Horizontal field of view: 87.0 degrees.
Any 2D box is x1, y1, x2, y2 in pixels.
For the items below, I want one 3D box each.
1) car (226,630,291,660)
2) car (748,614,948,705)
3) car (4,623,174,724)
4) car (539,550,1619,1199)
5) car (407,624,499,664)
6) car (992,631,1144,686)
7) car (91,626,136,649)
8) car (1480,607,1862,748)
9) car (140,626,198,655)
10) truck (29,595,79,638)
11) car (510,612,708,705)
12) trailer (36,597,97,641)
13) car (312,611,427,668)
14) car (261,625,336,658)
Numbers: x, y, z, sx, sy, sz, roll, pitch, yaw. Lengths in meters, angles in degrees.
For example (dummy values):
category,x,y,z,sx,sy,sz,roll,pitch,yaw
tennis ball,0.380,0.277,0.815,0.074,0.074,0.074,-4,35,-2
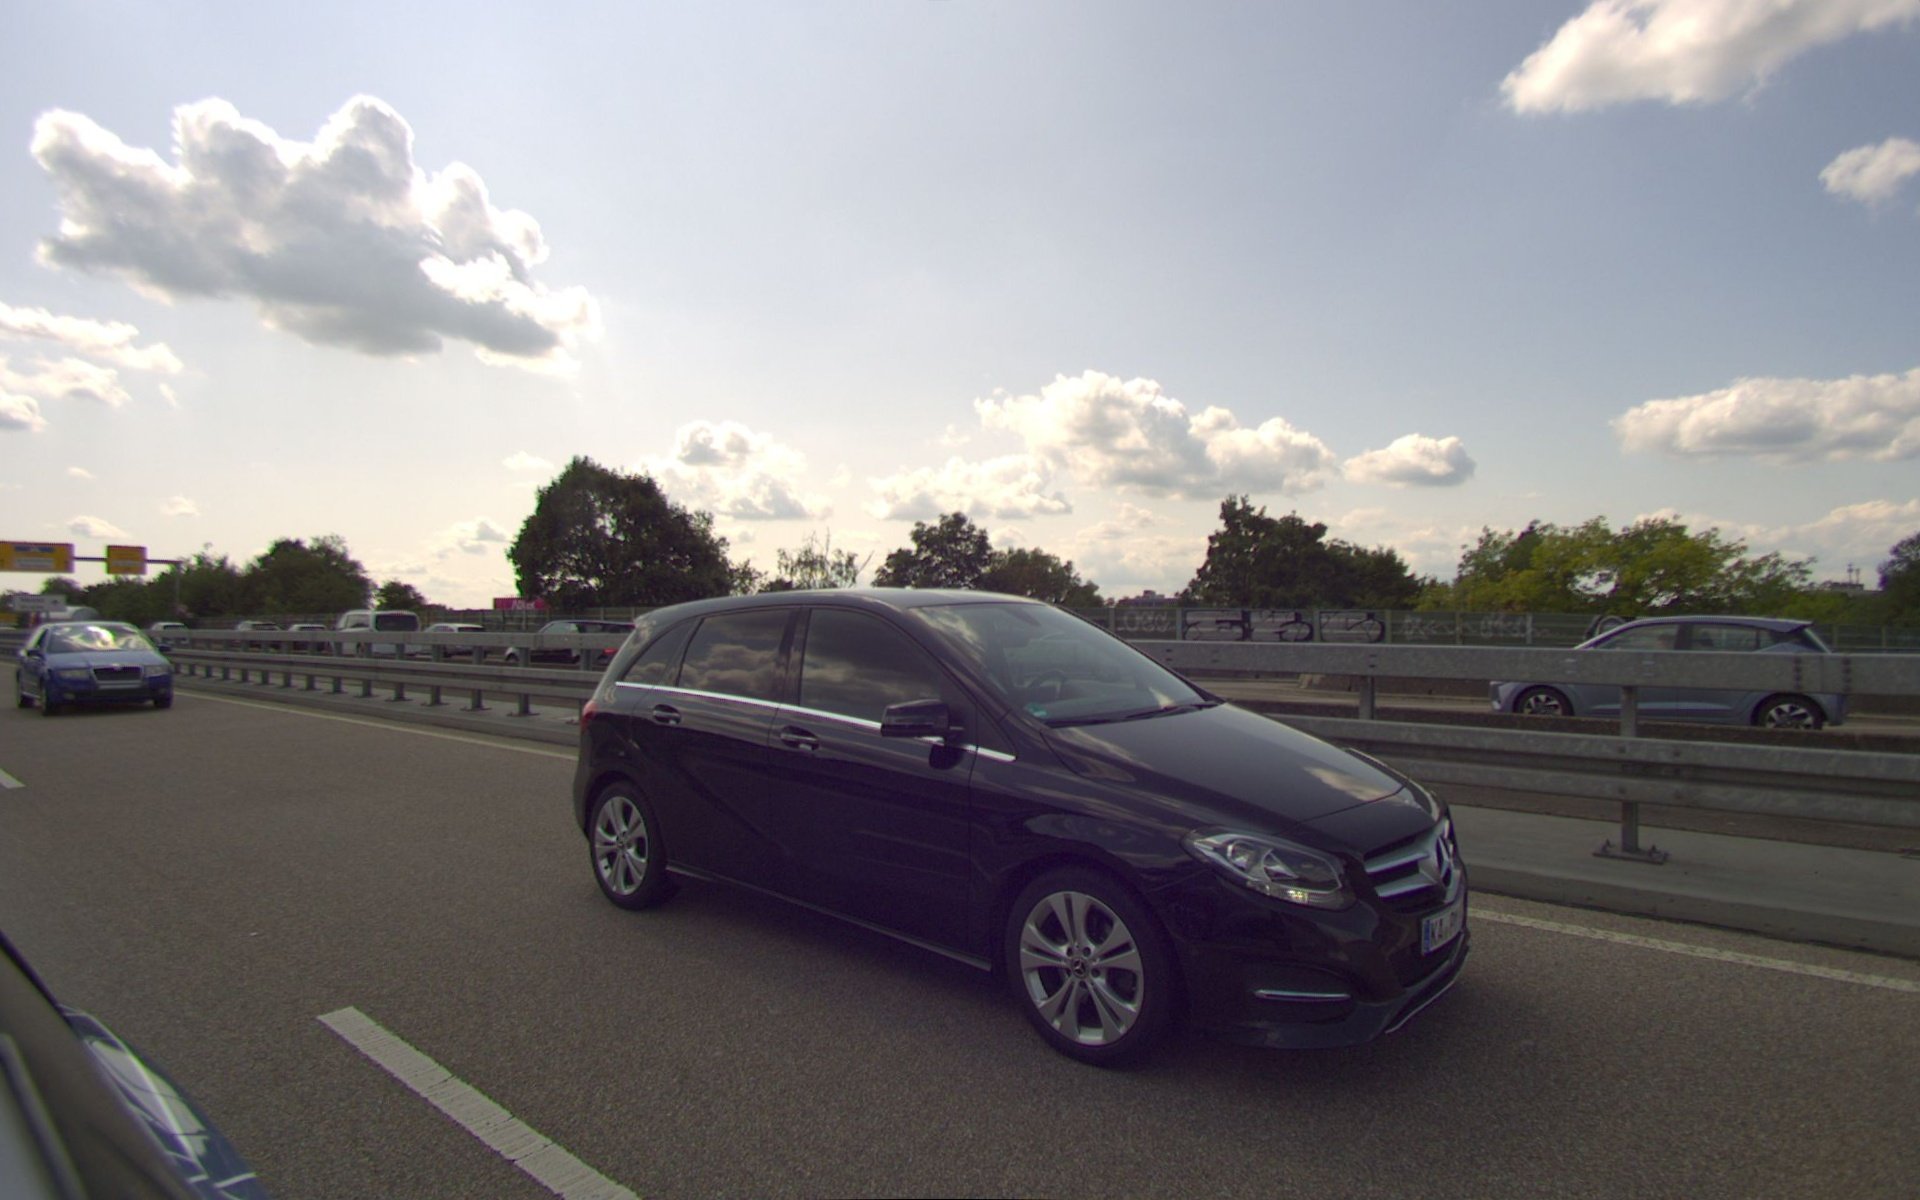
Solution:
category,x,y,z,sx,sy,sz,roll,pitch,yaw
car,-39.911,2.543,57.544,4.278,1.586,1.905,-2,-1,39
car,-2.484,1.250,21.755,4.405,1.724,1.567,-3,-1,39
car,-14.374,1.119,16.641,3.770,1.422,1.604,-1,0,41
car,0.077,0.673,4.491,4.589,1.539,1.694,-1,0,41
car,-21.498,1.835,42.853,4.278,1.586,1.905,-2,-1,39
car,3.046,1.612,28.388,3.968,1.397,1.638,-1,0,19
car,-60.390,2.653,72.182,4.278,1.632,1.697,-1,-3,40
car,8.559,0.874,12.436,3.626,1.486,1.582,-1,-3,38
car,-46.648,2.355,59.667,3.883,1.586,1.905,-1,0,39
truck,-84.512,1.547,94.376,6.228,3.810,2.621,-1,0,40
car,-6.799,1.051,19.436,4.056,1.583,1.659,-1,0,38
trailer,-79.920,1.719,90.430,11.022,3.697,2.657,-1,0,41
car,-22.486,1.497,38.434,5.184,1.940,1.941,-2,0,38
car,-33.013,2.023,50.462,4.240,1.586,1.905,-1,-2,39
